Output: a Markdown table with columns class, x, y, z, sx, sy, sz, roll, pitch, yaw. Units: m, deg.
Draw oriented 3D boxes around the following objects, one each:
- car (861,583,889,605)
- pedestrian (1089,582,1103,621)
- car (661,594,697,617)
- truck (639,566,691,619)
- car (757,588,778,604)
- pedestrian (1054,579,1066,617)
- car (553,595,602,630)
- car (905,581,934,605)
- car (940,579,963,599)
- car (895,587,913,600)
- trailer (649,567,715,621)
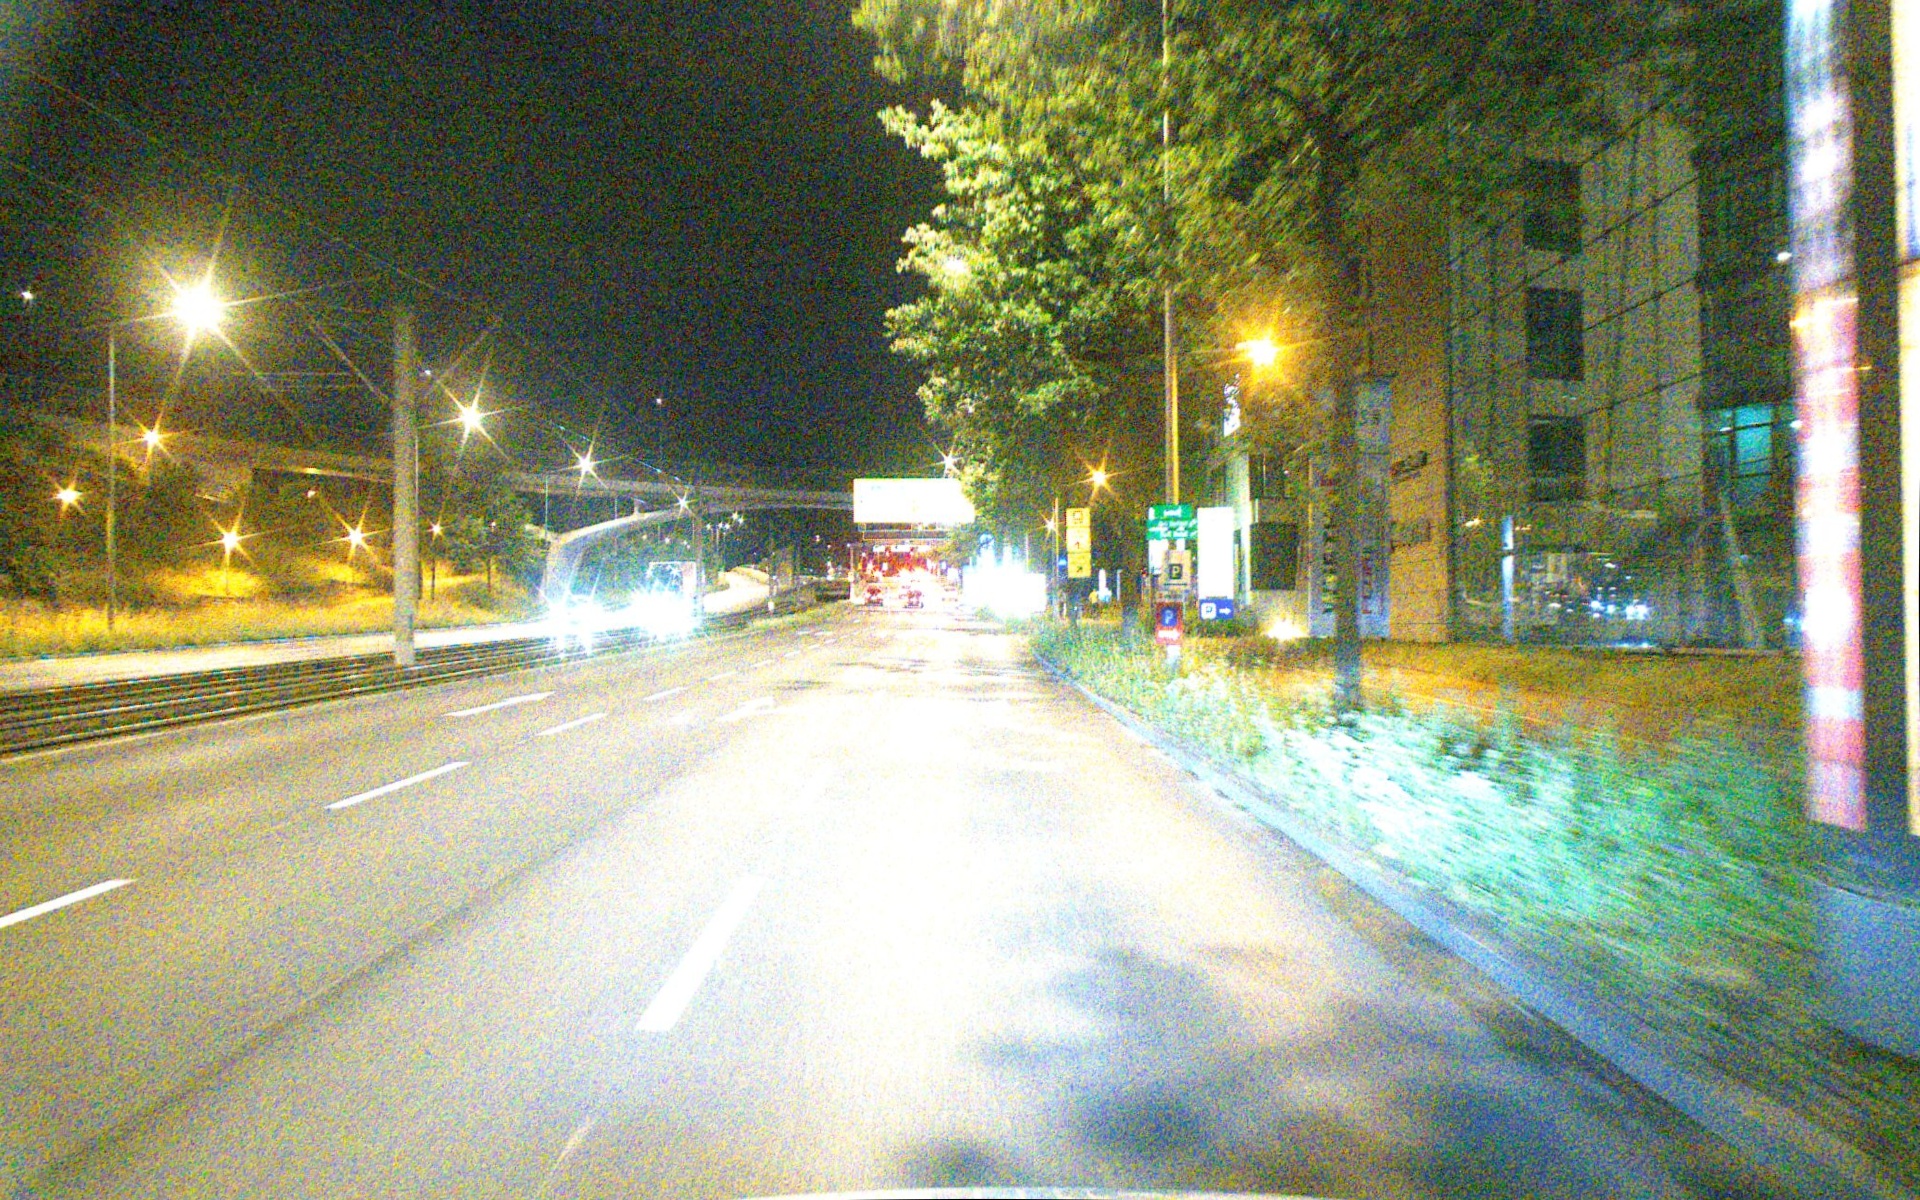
| class | x | y | z | sx | sy | sz | roll | pitch | yaw |
| --- | --- | --- | --- | --- | --- | --- | --- | --- | --- |
| car | -8.121 | -0.573 | 158.039 | 2.215 | 2.049 | 4.828 | 0 | 1 | 2 |
| pedestrian | 7.367 | 0.063 | 89.641 | 0.746 | 2.099 | 0.643 | 0 | 1 | -1 |
| car | -18.843 | 0.368 | 110.979 | 1.872 | 1.499 | 3.771 | 0 | 1 | -1 |
| truck | -21.784 | -0.584 | 122.463 | 2.979 | 3.886 | 4.935 | 0 | 1 | 0 |
| car | -19.194 | -0.392 | 165.156 | 1.773 | 1.499 | 3.771 | 0 | 1 | -1 |
| pedestrian | 6.494 | -0.131 | 107.738 | 0.729 | 2.477 | 0.780 | 1 | 0 | 2 |
| car | -20.558 | 0.646 | 89.028 | 1.825 | 1.780 | 3.700 | 0 | 1 | -1 |
| car | -3.712 | -0.630 | 152.722 | 2.307 | 2.166 | 4.828 | 0 | 1 | 2 |
| car | -0.903 | -1.230 | 184.536 | 2.377 | 2.150 | 4.828 | 0 | 1 | 2 |
| car | -6.463 | -0.756 | 191.196 | 1.953 | 1.580 | 3.999 | 0 | 0 | -1 |
| trailer | -21.814 | -0.550 | 130.823 | 2.933 | 4.070 | 13.954 | 0 | 1 | 0 |
